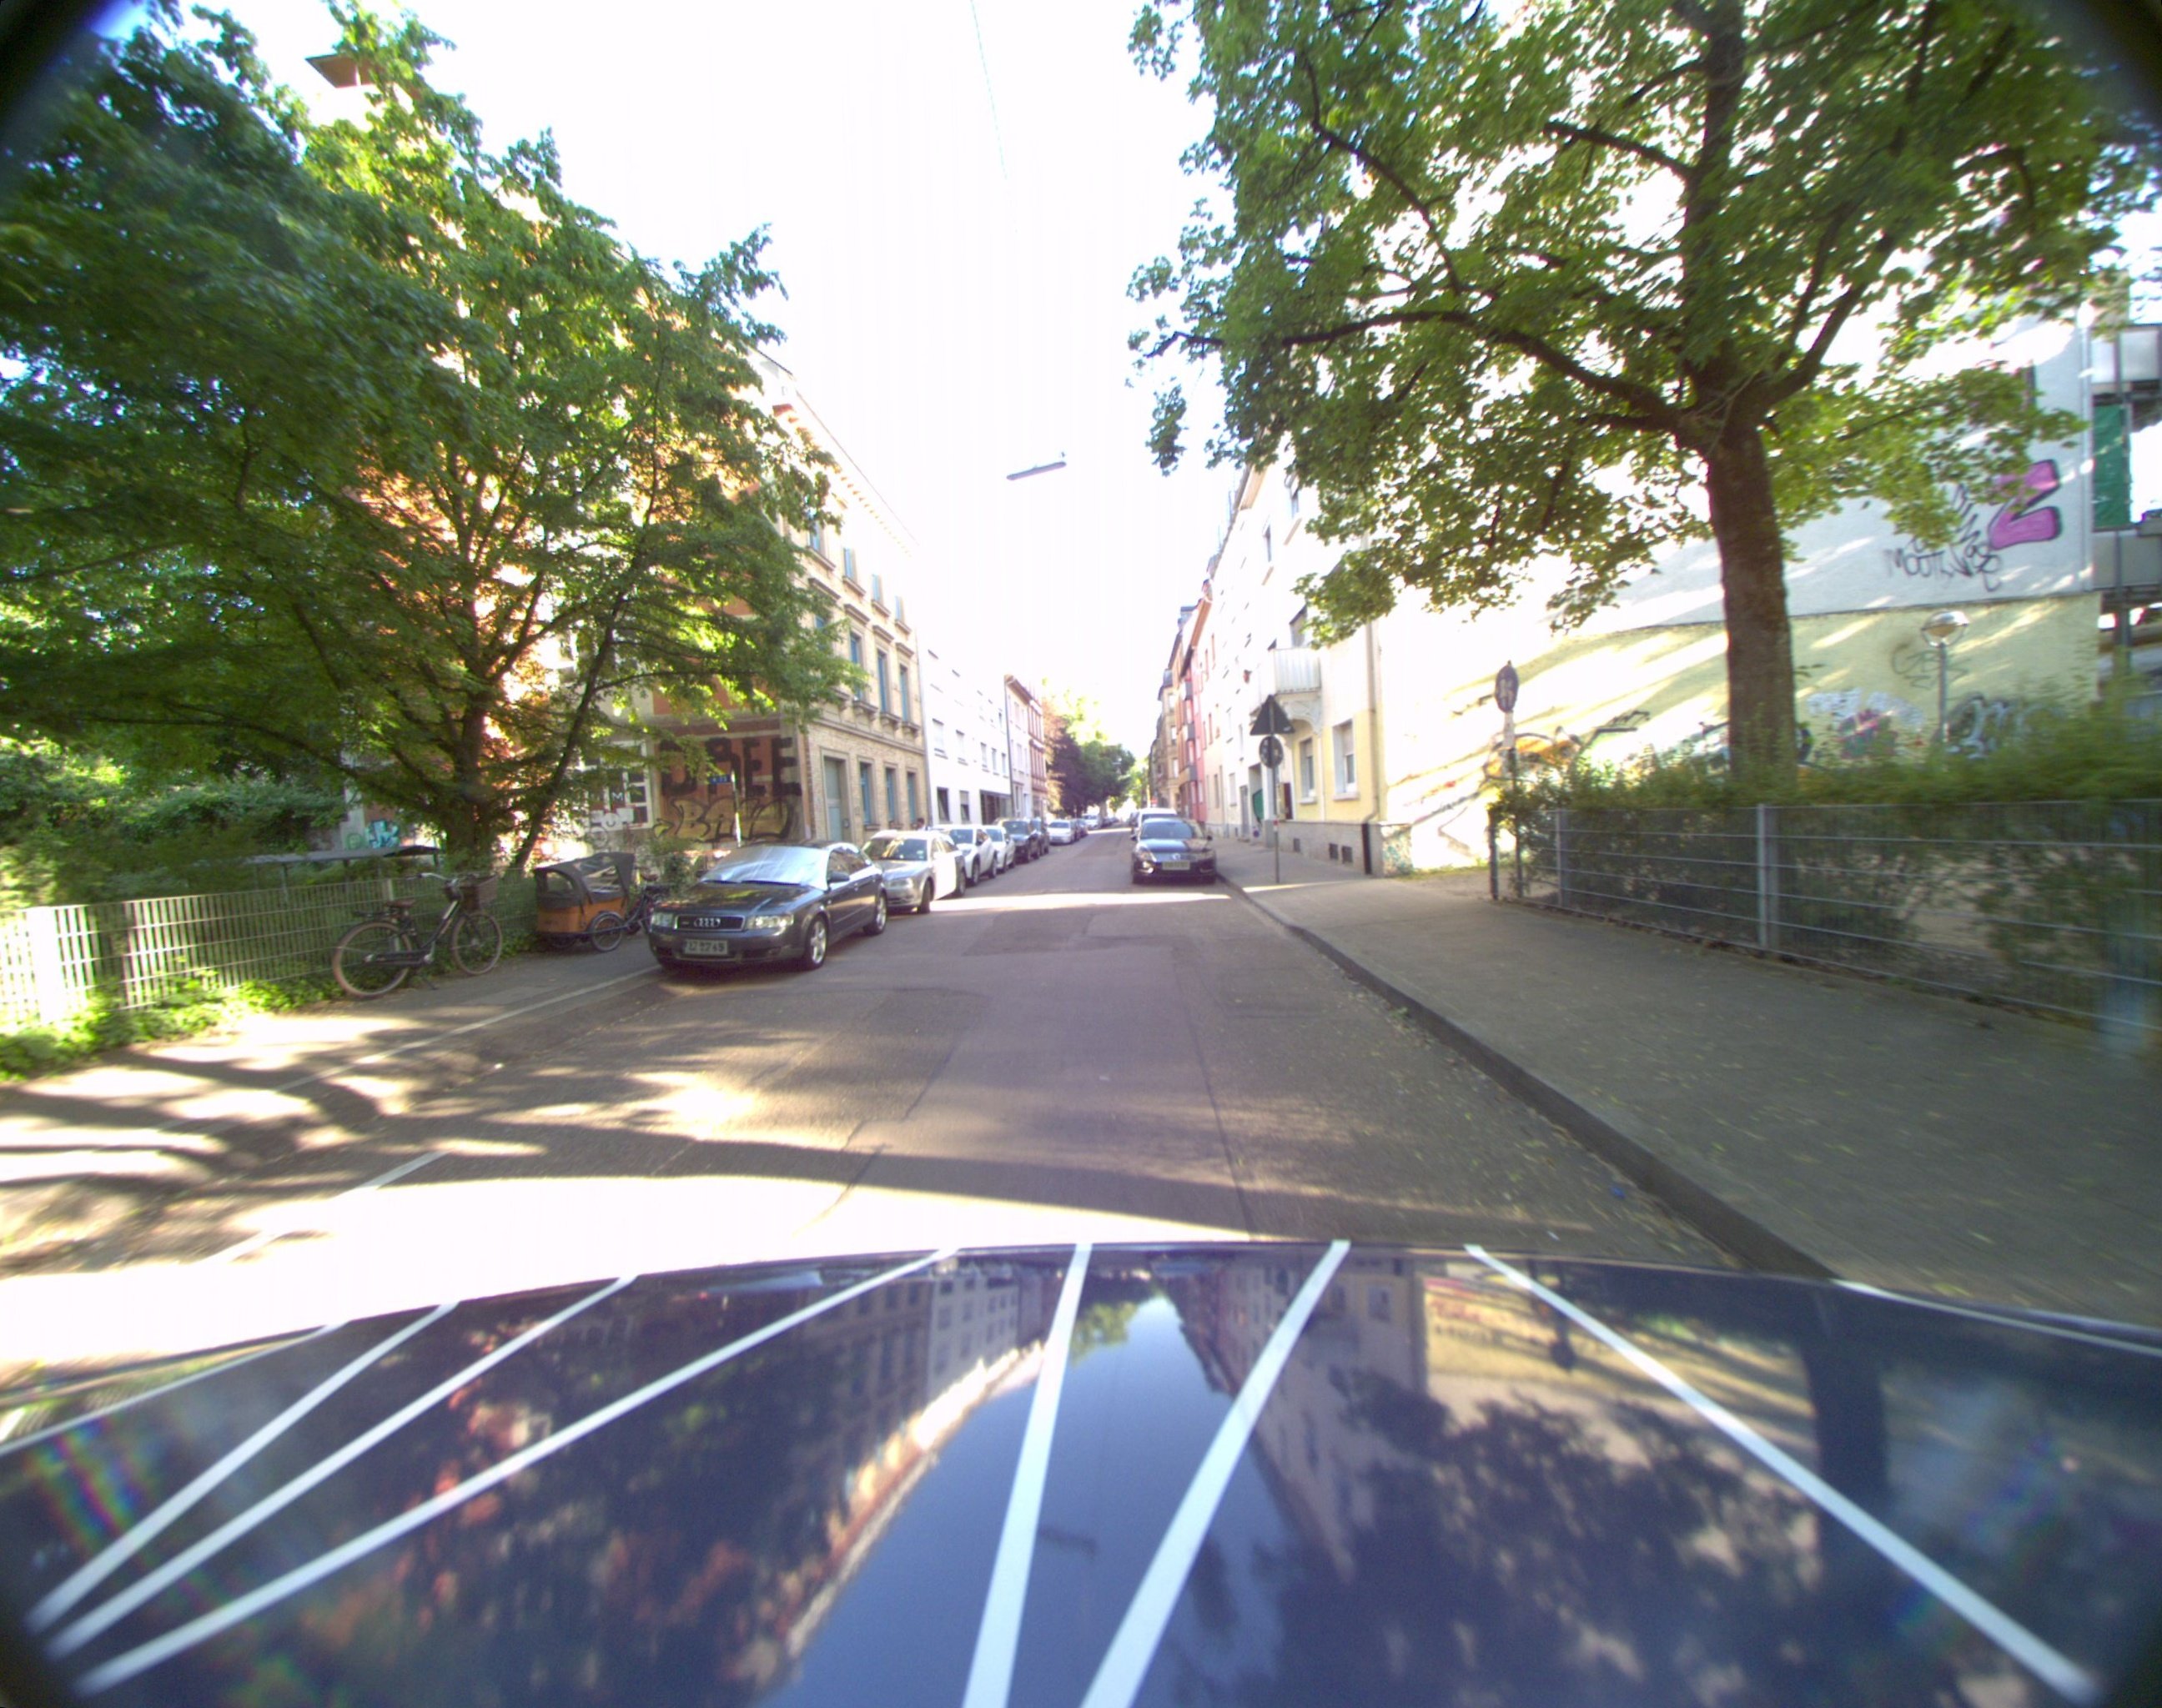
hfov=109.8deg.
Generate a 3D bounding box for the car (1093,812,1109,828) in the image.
[{"bbox_3d":[2.518,-4.271,94.492,1.768,1.847,4.284,-3,3,4],"label":"car"}]

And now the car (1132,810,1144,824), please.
[{"bbox_3d":[8.564,-5.672,114.858,1.768,2.076,4.262,-1,3,4],"label":"car"}]

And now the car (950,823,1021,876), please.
[{"bbox_3d":[-2.960,-0.201,24.273,1.597,1.443,4.001,-2,3,2],"label":"car"}]

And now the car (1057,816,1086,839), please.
[{"bbox_3d":[-0.640,-1.954,55.632,1.768,1.525,4.102,-1,3,4],"label":"car"}]

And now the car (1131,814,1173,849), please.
[{"bbox_3d":[3.411,-1.114,35.814,1.674,1.519,4.085,0,3,9],"label":"car"}]

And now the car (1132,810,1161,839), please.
[{"bbox_3d":[4.292,-2.013,50.217,1.768,1.815,4.102,-1,3,4],"label":"car"}]

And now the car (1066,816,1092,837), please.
[{"bbox_3d":[-0.155,-2.243,60.752,1.768,1.525,4.102,-1,3,4],"label":"car"}]

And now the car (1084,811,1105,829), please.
[{"bbox_3d":[1.590,-3.969,87.947,1.865,1.971,4.480,0,3,7],"label":"car"}]

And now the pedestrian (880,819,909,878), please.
[{"bbox_3d":[-5.429,-0.170,22.166,0.598,1.700,0.706,0,4,3],"label":"pedestrian"}]

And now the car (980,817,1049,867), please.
[{"bbox_3d":[-2.441,-0.513,28.947,1.769,1.658,4.327,-2,3,6],"label":"car"}]

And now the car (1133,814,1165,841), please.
[{"bbox_3d":[3.980,-1.596,44.892,1.768,1.464,3.814,-1,3,4],"label":"car"}]

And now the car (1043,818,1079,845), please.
[{"bbox_3d":[-1.173,-1.406,46.435,1.768,1.509,4.102,-1,3,4],"label":"car"}]

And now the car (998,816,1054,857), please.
[{"bbox_3d":[-2.377,-0.831,34.107,1.885,1.658,4.326,-1,3,4],"label":"car"}]

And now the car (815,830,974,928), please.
[{"bbox_3d":[-3.391,0.354,14.747,1.663,1.486,4.352,-2,3,4],"label":"car"}]

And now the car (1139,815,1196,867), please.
[{"bbox_3d":[2.652,-0.453,23.538,1.596,1.443,3.485,0,3,6],"label":"car"}]

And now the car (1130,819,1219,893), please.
[{"bbox_3d":[2.035,-0.049,17.613,1.783,1.436,4.391,-1,3,4],"label":"car"}]

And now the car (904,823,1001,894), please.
[{"bbox_3d":[-3.233,0.031,19.852,1.597,1.577,3.763,-2,3,4],"label":"car"}]

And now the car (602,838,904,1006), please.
[{"bbox_3d":[-3.783,0.642,9.780,1.725,1.486,4.412,-2,3,3],"label":"car"}]

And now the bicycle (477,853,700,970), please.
[{"bbox_3d":[-6.566,0.704,10.383,1.293,1.295,2.326,-1,3,7],"label":"bicycle"}]

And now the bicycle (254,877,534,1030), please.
[{"bbox_3d":[-6.840,0.926,7.762,0.848,1.194,1.981,-3,3,6],"label":"bicycle"}]

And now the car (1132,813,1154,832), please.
[{"bbox_3d":[5.291,-2.751,65.379,1.768,1.525,4.102,-1,3,4],"label":"car"}]

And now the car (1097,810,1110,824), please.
[{"bbox_3d":[3.333,-5.464,113.091,1.768,2.007,4.262,-1,3,4],"label":"car"}]

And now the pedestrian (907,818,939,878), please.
[{"bbox_3d":[-4.599,-0.187,22.165,0.712,1.700,0.752,0,4,3],"label":"pedestrian"}]

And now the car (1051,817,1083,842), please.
[{"bbox_3d":[-0.873,-1.677,51.182,1.768,1.525,4.102,-1,3,4],"label":"car"}]

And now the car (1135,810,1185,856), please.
[{"bbox_3d":[3.134,-0.927,30.889,1.753,1.732,4.313,-1,3,3],"label":"car"}]

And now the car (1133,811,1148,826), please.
[{"bbox_3d":[7.365,-4.442,94.158,1.768,1.847,3.992,-1,3,4],"label":"car"}]
